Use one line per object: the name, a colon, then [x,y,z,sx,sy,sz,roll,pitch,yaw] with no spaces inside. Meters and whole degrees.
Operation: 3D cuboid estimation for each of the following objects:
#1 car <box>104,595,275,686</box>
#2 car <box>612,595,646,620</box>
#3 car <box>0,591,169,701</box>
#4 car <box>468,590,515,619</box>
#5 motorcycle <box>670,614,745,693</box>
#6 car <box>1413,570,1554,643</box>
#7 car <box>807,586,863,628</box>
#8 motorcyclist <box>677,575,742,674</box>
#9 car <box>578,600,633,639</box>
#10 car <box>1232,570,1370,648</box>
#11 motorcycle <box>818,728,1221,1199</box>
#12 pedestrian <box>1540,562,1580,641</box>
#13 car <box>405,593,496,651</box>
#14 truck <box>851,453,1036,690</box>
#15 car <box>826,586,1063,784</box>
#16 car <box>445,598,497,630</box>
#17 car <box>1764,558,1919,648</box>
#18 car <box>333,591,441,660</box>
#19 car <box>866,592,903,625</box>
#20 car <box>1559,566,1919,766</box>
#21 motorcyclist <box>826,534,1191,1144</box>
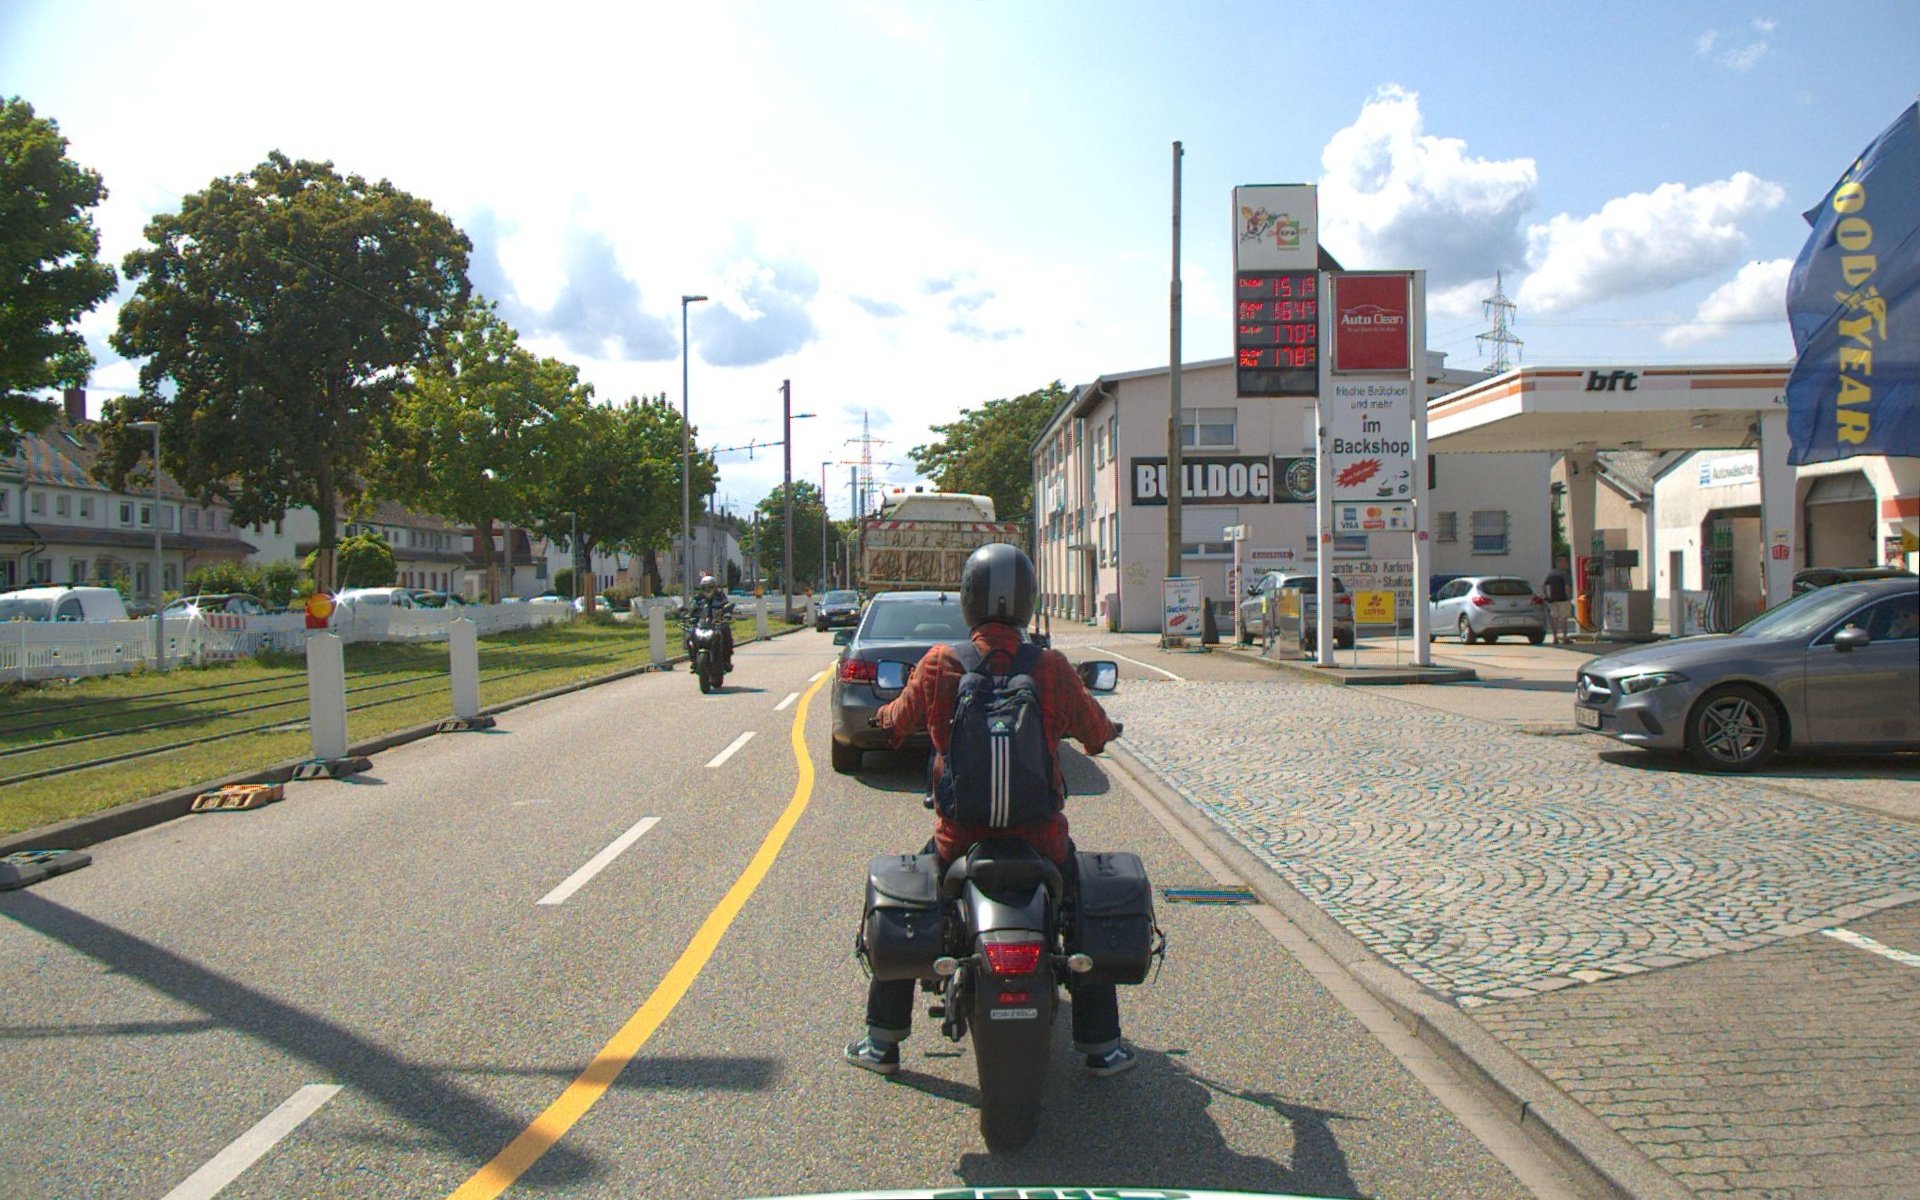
car: [-16.670,0.822,36.025,1.740,1.805,4.227,-1,0,-1]
car: [-24.963,0.545,124.851,1.740,1.753,4.127,-1,0,-1]
car: [-16.452,0.781,30.388,1.740,1.853,4.363,-1,0,-1]
car: [-29.424,0.272,103.951,1.740,1.753,4.127,-1,0,-1]
motorcycle: [-3.625,0.750,23.941,0.851,1.039,2.243,-1,0,-3]
car: [11.724,0.117,37.266,1.770,1.529,3.831,-1,0,-3]
car: [-4.658,0.230,62.185,1.786,1.478,4.323,-2,0,-1]
motorcyclist: [-3.632,0.346,24.041,0.851,1.402,0.800,-1,0,-4]
car: [-17.054,0.906,79.684,1.740,1.753,4.127,-1,0,-1]
car: [7.460,0.173,36.630,1.636,1.589,4.236,-1,0,-8]
motorcycle: [0.126,0.994,5.323,0.959,0.913,2.653,-1,0,-1]
pedestrian: [12.956,0.028,35.712,0.696,1.685,0.546,-1,0,35]
car: [-16.970,0.696,55.260,1.740,1.837,4.127,-1,0,-1]
truck: [-0.294,-0.445,27.702,2.585,3.354,8.055,-1,0,-1]
car: [-0.147,0.633,14.615,1.786,1.478,3.999,1,0,-1]
car: [-28.298,0.775,95.833,1.740,1.753,4.127,-1,0,-1]
car: [16.621,0.023,30.321,1.770,1.529,3.832,-1,0,-3]
car: [-16.938,0.712,49.081,1.740,1.900,4.127,-1,0,-1]
car: [-3.978,0.434,87.831,1.786,1.630,4.323,-2,0,-1]
car: [7.034,0.467,12.866,4.181,1.440,1.675,-1,0,7]
motorcyclist: [0.124,0.640,5.017,0.959,1.630,1.087,-1,0,-1]
